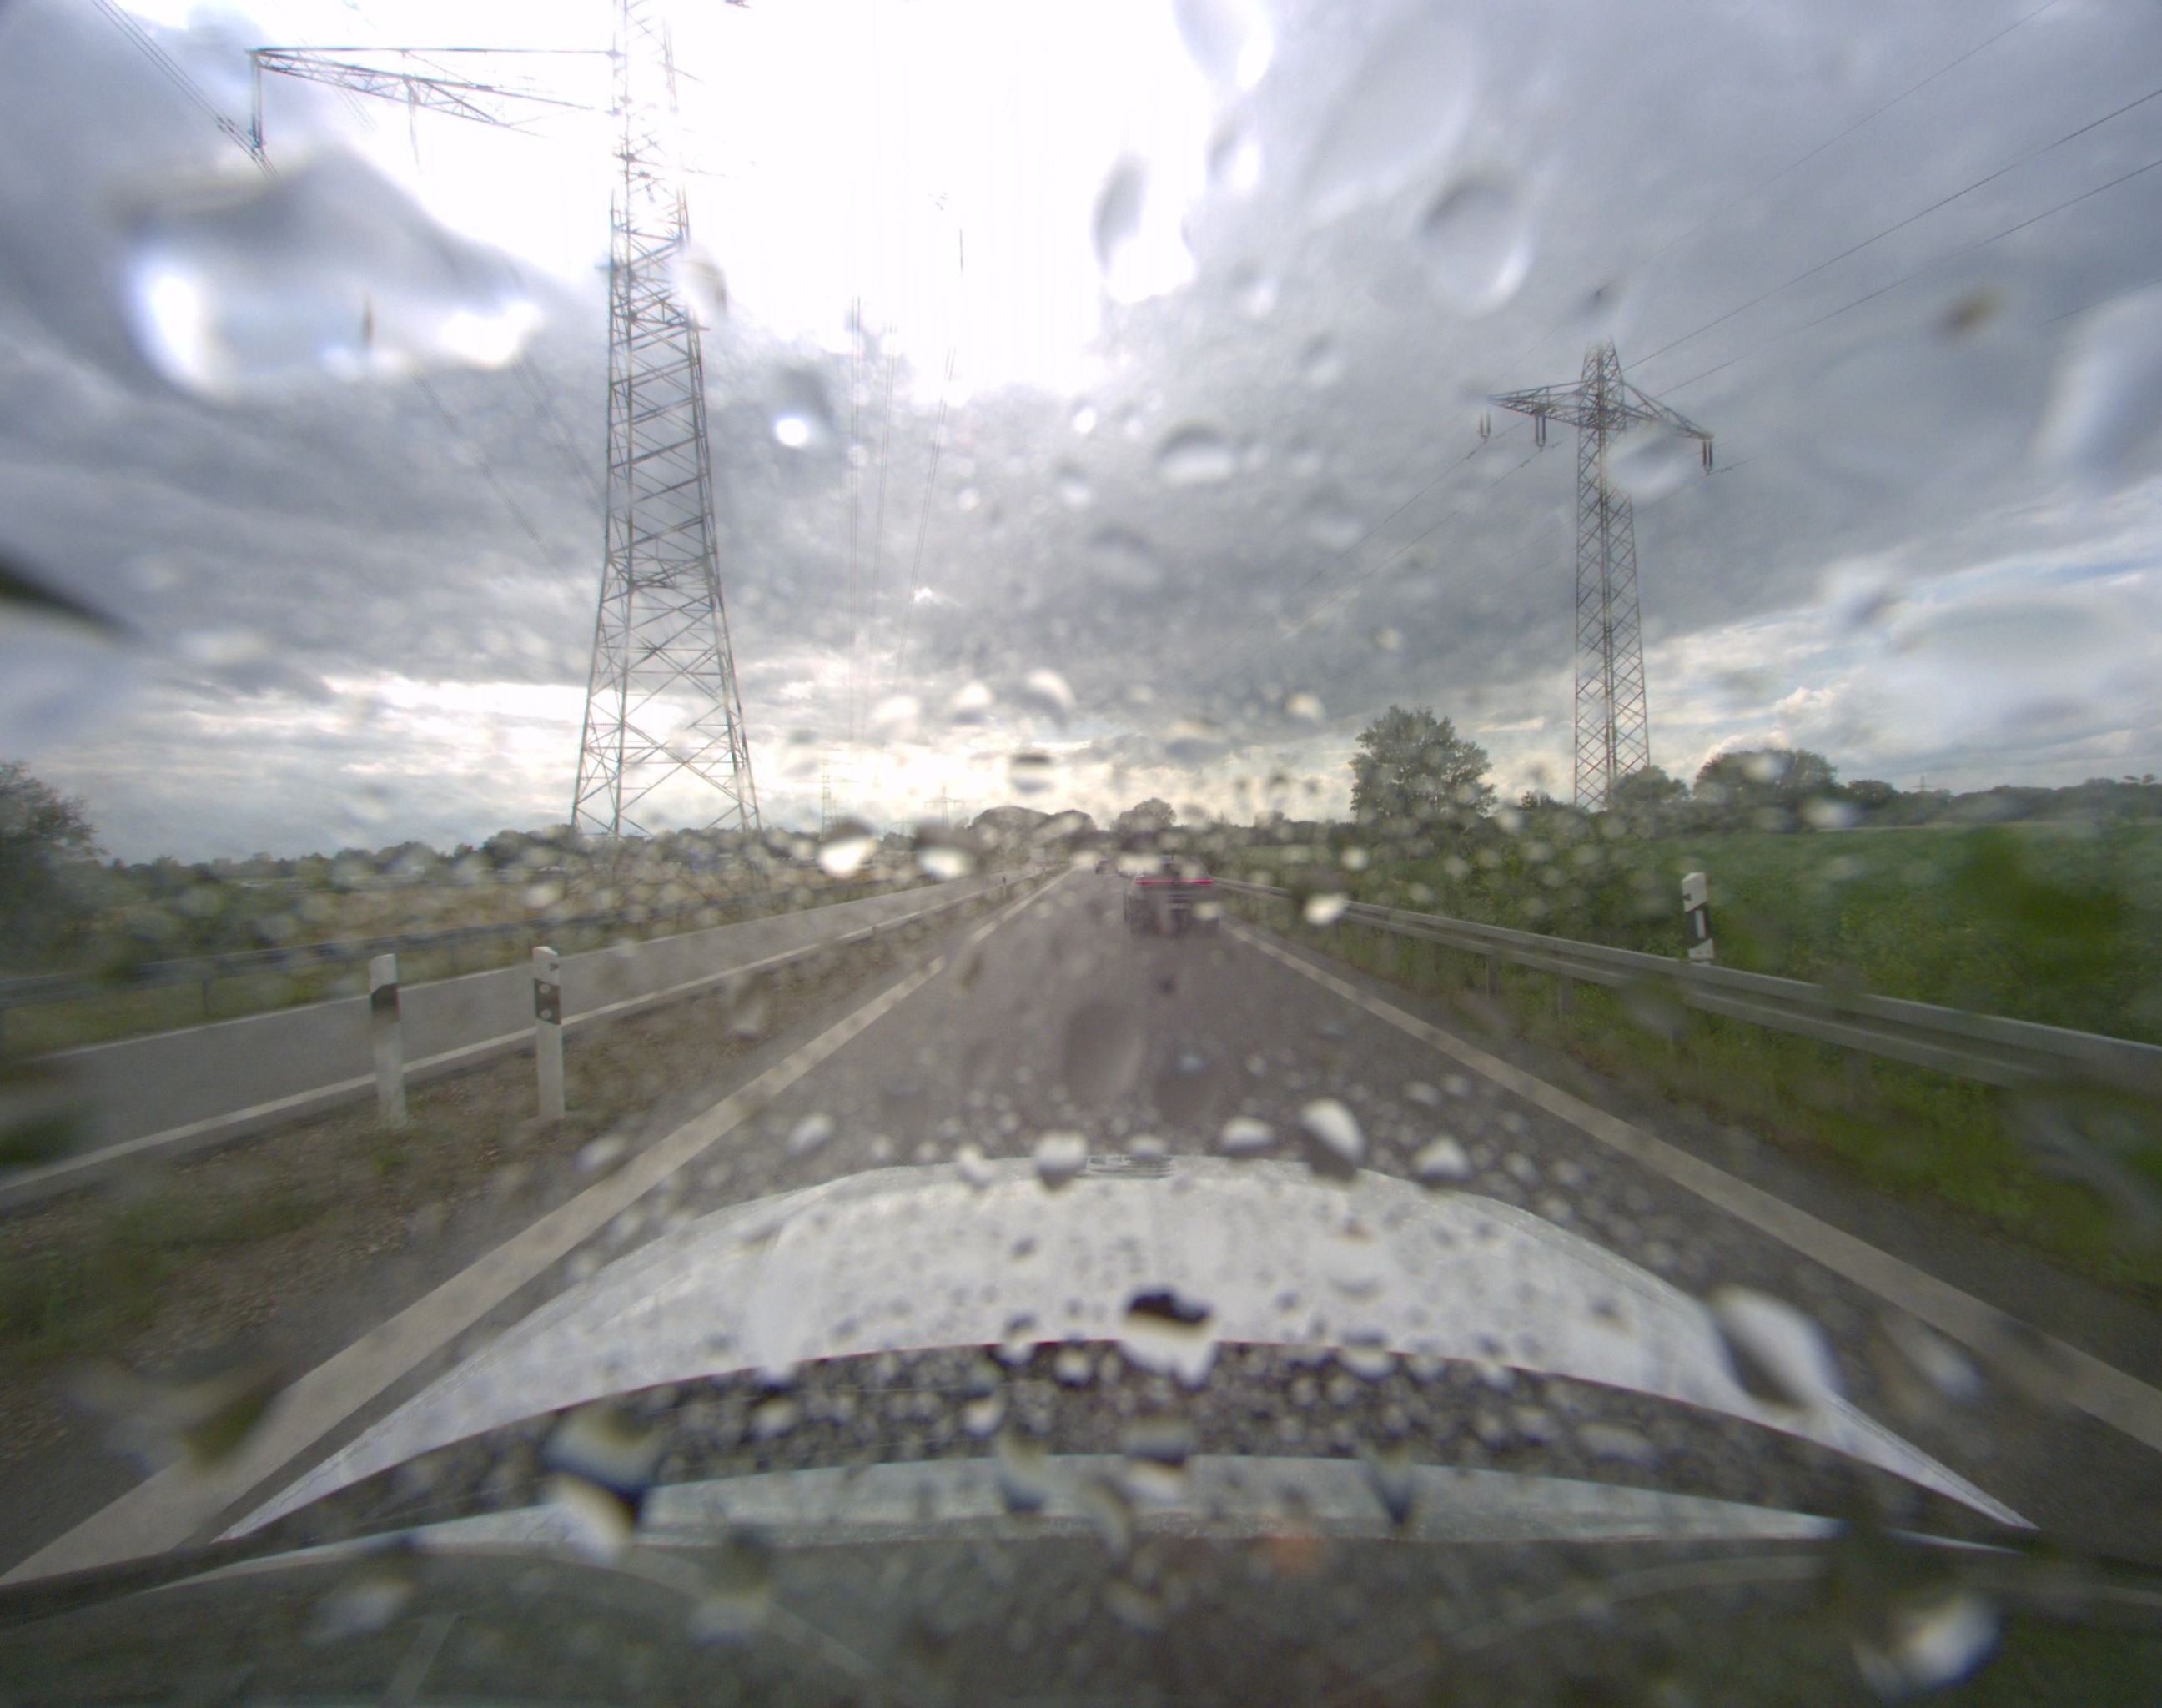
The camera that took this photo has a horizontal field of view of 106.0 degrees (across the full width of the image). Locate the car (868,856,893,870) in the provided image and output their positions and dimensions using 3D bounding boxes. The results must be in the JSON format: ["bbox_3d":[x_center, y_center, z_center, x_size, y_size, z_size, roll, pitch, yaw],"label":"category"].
[{"bbox_3d":[-54.377,2.543,220.277,3.409,3.610,8.945,-2,0,-36],"label":"car"}]

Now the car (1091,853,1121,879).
[{"bbox_3d":[2.083,1.007,69.791,2.115,2.018,5.530,-2,0,-2],"label":"car"}]

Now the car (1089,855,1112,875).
[{"bbox_3d":[2.569,1.454,108.022,2.348,2.306,5.119,-2,2,-6],"label":"car"}]

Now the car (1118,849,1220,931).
[{"bbox_3d":[1.836,0.683,17.982,1.985,1.566,4.153,-1,1,3],"label":"car"}]

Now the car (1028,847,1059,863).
[{"bbox_3d":[-7.839,0.175,168.934,3.158,2.951,7.134,-3,2,-33],"label":"car"}]

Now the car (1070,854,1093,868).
[{"bbox_3d":[0.113,1.240,145.270,2.361,2.306,5.090,-3,2,-22],"label":"car"}]
